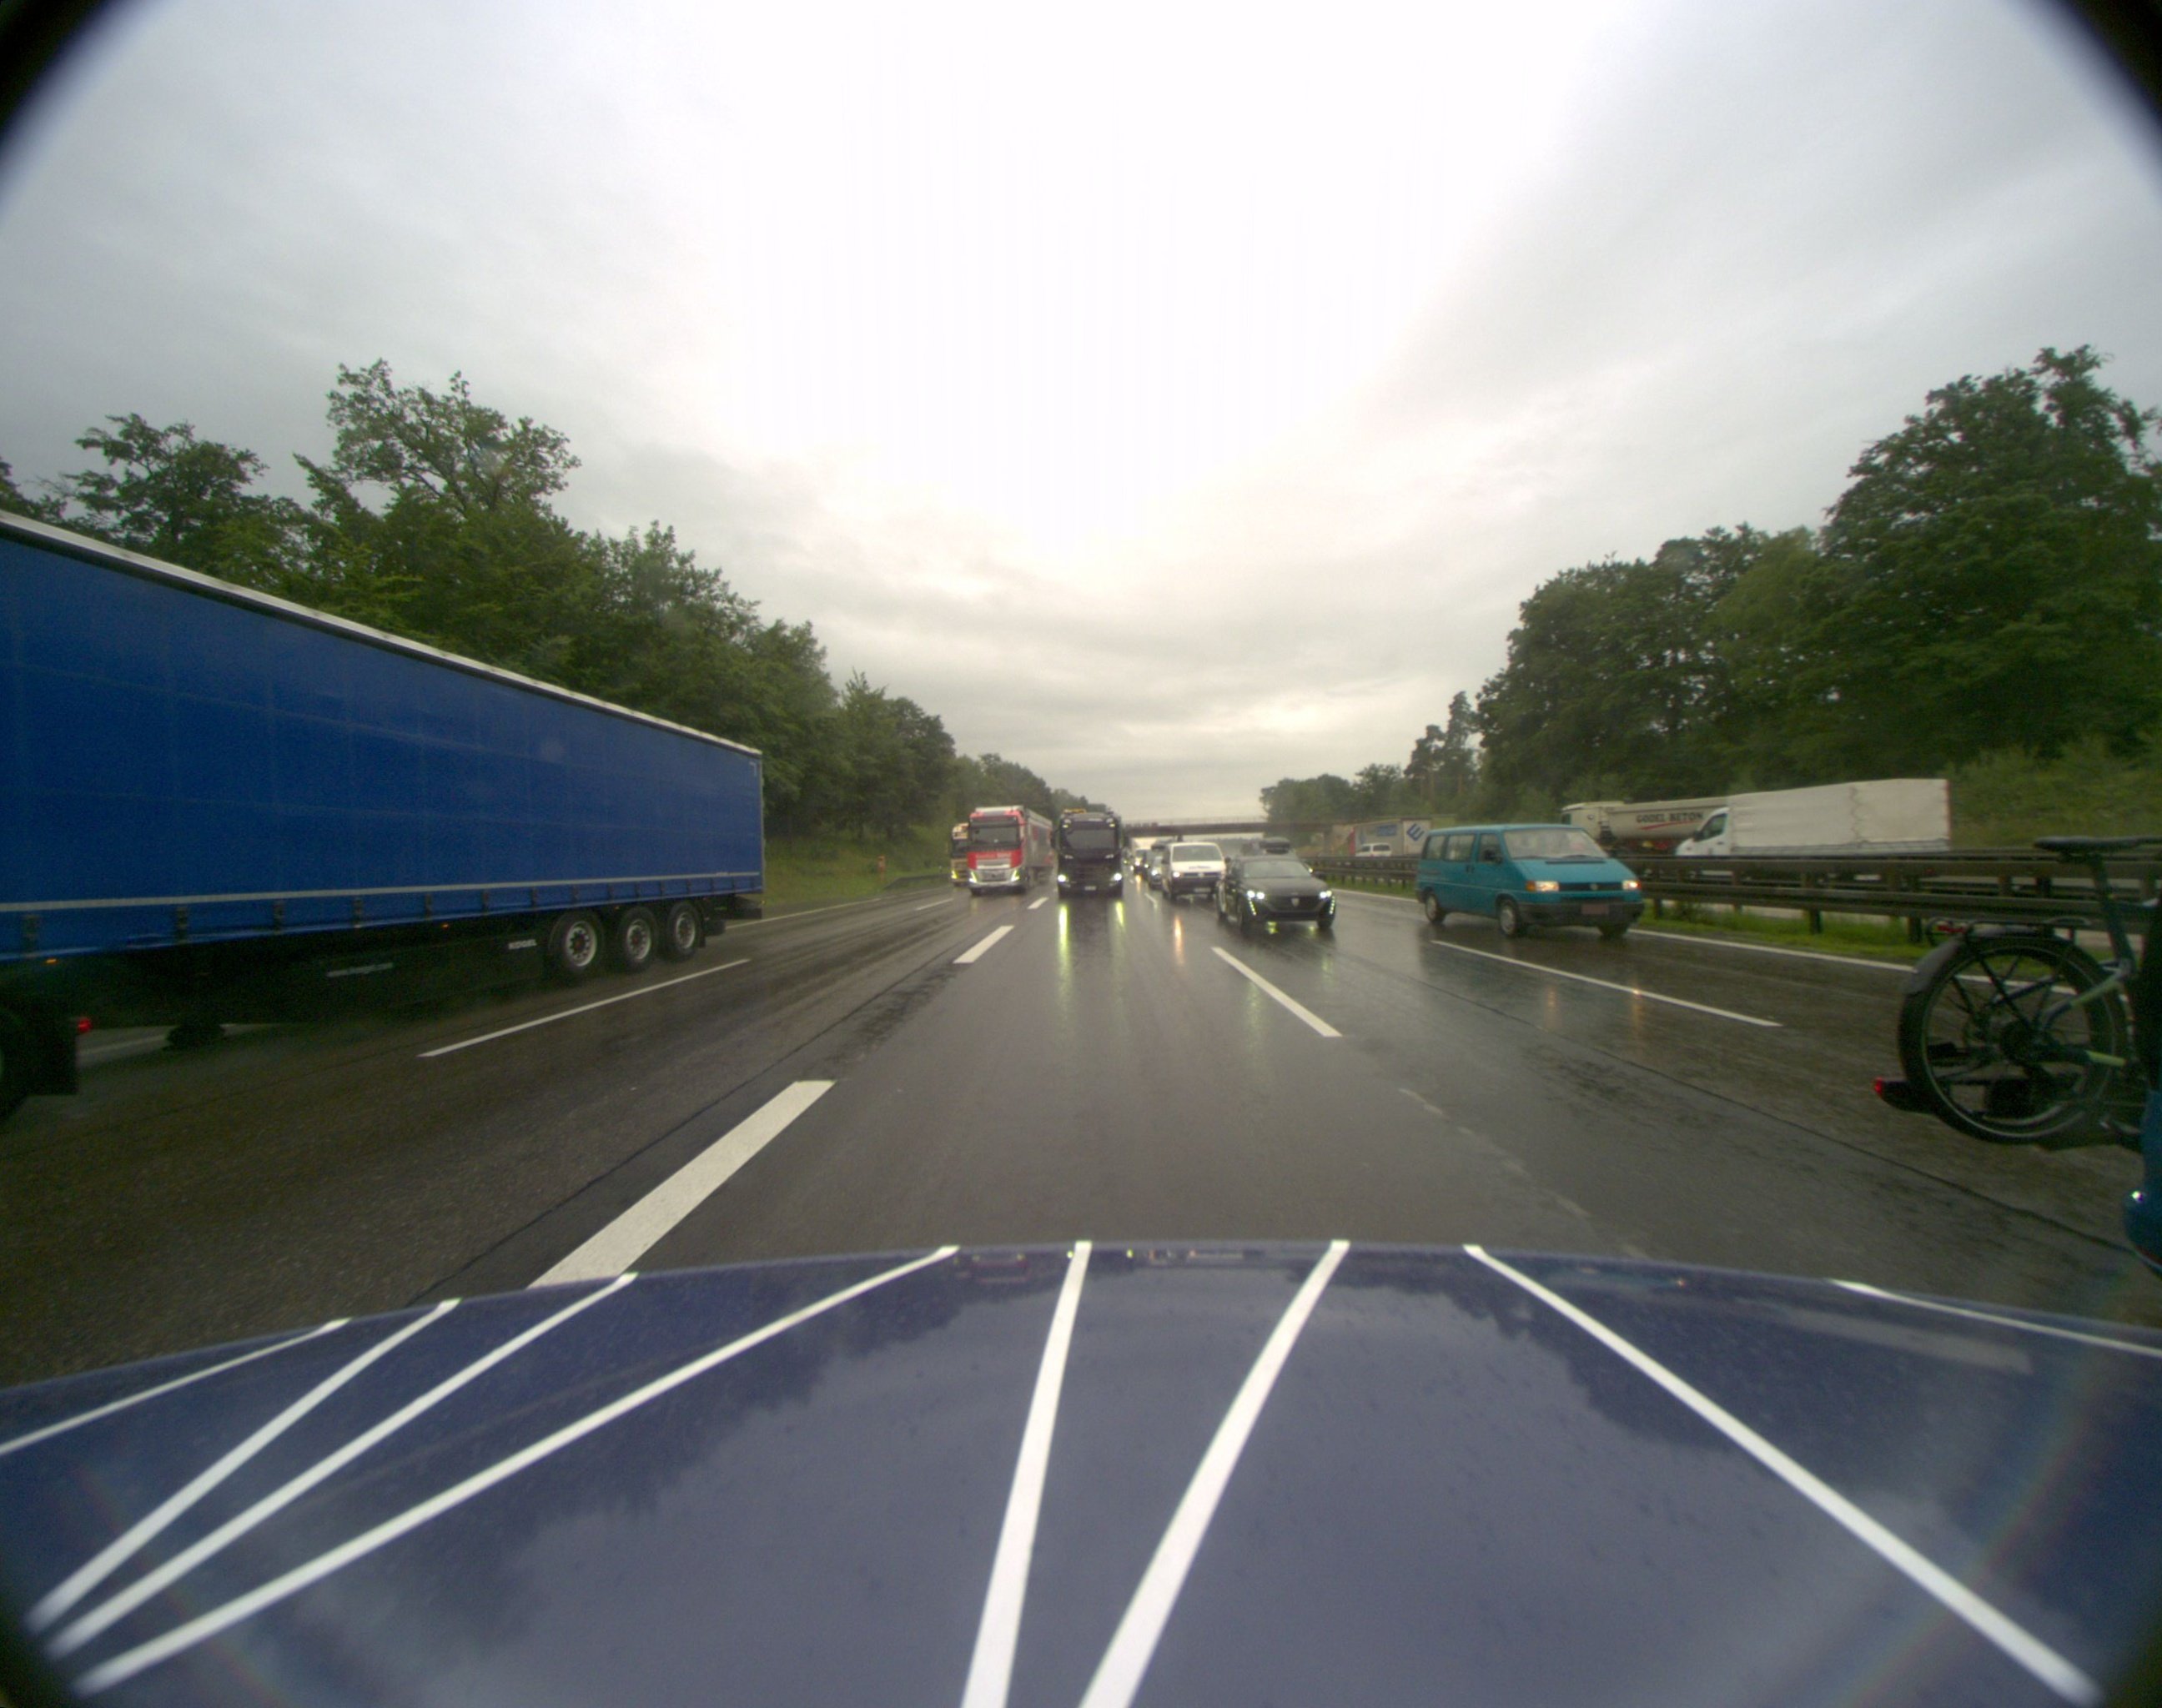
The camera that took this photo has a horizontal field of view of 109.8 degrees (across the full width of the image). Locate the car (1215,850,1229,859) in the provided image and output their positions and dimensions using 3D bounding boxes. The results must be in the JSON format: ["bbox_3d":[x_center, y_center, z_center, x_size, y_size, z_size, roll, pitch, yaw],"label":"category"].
[{"bbox_3d":[27.240,0.109,146.542,1.998,1.498,4.708,-1,0,3],"label":"car"}]

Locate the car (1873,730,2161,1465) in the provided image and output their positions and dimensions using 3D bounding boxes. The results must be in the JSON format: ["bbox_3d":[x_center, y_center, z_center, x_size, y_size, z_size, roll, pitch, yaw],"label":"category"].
[{"bbox_3d":[3.819,0.592,0.109,2.275,1.900,5.016,-2,0,3],"label":"car"}]

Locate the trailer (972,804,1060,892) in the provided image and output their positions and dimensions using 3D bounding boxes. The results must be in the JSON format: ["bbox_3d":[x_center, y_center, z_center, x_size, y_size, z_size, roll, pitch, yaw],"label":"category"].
[{"bbox_3d":[-3.170,-0.325,41.973,2.607,3.934,14.584,-2,0,3],"label":"trailer"}]

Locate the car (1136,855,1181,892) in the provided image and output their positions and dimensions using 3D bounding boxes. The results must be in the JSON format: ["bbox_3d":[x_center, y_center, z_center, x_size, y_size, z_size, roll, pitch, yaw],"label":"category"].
[{"bbox_3d":[3.555,0.866,35.504,1.850,1.496,4.467,-2,0,4],"label":"car"}]

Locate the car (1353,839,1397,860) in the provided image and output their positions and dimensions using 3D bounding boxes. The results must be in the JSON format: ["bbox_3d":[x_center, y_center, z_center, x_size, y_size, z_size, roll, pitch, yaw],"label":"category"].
[{"bbox_3d":[25.435,-0.374,65.989,1.998,1.759,5.040,-1,0,2],"label":"car"}]

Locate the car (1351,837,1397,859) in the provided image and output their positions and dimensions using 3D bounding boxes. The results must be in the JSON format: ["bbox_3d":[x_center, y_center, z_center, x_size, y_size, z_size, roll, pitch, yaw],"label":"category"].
[{"bbox_3d":[25.416,-0.530,66.194,1.982,1.814,5.222,-2,0,0],"label":"car"}]

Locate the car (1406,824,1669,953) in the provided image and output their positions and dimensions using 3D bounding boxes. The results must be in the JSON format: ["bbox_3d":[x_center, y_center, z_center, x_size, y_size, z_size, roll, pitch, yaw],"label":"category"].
[{"bbox_3d":[7.804,0.501,13.670,1.915,1.852,4.759,-2,0,2],"label":"car"}]

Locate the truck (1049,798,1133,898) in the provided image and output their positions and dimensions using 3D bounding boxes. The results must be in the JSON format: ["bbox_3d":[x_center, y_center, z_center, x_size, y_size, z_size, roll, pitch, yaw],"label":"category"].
[{"bbox_3d":[0.727,-0.272,32.993,2.879,3.528,10.913,-2,1,4],"label":"truck"}]

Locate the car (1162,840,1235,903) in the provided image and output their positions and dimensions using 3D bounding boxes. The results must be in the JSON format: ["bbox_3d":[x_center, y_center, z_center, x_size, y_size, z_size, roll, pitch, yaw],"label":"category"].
[{"bbox_3d":[3.879,0.551,25.945,1.994,1.869,4.768,-2,0,4],"label":"car"}]

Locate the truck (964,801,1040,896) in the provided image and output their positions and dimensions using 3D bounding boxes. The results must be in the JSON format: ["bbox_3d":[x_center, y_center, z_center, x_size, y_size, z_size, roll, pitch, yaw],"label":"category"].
[{"bbox_3d":[-3.519,-0.256,35.259,2.608,3.934,5.600,-2,1,2],"label":"truck"}]

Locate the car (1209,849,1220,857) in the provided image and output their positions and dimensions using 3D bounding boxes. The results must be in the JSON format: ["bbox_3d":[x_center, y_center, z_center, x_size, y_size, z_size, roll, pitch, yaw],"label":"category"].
[{"bbox_3d":[29.711,-0.213,168.755,1.997,1.498,4.709,-1,0,6],"label":"car"}]

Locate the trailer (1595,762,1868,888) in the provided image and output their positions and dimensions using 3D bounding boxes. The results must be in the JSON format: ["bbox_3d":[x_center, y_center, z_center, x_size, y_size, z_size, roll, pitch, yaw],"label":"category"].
[{"bbox_3d":[23.694,-0.945,28.668,2.383,3.931,9.422,-1,0,1],"label":"trailer"}]

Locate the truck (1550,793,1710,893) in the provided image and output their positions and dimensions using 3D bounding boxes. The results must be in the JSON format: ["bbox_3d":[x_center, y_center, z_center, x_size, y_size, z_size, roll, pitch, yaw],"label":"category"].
[{"bbox_3d":[23.786,-0.454,33.394,2.383,3.931,6.536,-1,0,1],"label":"truck"}]

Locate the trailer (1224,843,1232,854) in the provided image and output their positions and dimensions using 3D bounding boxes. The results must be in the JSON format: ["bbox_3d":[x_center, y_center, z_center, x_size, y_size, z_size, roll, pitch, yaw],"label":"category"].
[{"bbox_3d":[50.401,-1.864,260.169,2.687,3.795,9.014,-2,0,11],"label":"trailer"}]

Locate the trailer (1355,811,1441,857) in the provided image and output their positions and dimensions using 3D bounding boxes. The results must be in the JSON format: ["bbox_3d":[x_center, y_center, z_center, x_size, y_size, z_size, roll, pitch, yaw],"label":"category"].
[{"bbox_3d":[29.475,-1.731,71.651,2.726,3.931,13.961,-1,0,2],"label":"trailer"}]

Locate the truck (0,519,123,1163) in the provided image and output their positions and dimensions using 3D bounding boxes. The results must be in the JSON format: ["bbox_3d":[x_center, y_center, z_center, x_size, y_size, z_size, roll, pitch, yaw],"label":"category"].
[{"bbox_3d":[-8.043,-0.020,2.184,2.608,3.990,6.012,-3,1,1],"label":"truck"}]

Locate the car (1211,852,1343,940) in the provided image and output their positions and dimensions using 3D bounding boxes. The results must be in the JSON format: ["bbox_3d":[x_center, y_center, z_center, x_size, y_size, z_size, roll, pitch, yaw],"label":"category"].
[{"bbox_3d":[3.929,0.755,16.000,1.850,1.496,4.467,-2,1,4],"label":"car"}]

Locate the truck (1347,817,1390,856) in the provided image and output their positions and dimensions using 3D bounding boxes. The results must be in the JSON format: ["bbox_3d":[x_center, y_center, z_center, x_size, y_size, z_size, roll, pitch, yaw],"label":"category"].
[{"bbox_3d":[29.710,-1.775,78.675,2.710,3.931,4.891,-1,1,2],"label":"truck"}]

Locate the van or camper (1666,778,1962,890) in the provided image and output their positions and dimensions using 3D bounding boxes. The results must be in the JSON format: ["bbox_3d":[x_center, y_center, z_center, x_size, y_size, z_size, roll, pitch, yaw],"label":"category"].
[{"bbox_3d":[19.266,-0.444,20.584,2.203,2.532,6.120,-1,0,1],"label":"van or camper"}]

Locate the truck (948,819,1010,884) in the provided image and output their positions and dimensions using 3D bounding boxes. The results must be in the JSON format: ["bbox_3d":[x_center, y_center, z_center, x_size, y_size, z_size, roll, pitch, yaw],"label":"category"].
[{"bbox_3d":[-6.772,-0.193,52.106,2.608,3.934,9.939,-2,0,1],"label":"truck"}]

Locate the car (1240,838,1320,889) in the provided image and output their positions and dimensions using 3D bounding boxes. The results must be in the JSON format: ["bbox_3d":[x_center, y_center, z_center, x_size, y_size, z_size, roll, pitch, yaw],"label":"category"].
[{"bbox_3d":[7.833,0.350,30.391,1.982,1.814,4.606,-2,0,0],"label":"car"}]

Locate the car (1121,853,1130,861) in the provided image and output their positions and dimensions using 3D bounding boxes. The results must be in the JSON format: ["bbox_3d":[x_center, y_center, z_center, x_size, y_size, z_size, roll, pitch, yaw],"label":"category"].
[{"bbox_3d":[9.633,0.577,165.673,1.864,1.554,4.436,-2,0,2],"label":"car"}]

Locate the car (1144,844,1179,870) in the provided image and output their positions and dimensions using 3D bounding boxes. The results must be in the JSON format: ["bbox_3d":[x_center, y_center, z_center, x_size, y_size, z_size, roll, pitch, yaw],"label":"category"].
[{"bbox_3d":[5.147,0.183,49.087,1.994,1.551,4.768,-2,0,3],"label":"car"}]

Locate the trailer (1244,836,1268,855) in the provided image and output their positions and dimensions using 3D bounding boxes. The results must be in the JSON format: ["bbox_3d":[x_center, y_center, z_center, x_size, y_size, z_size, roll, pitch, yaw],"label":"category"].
[{"bbox_3d":[36.643,-1.796,159.713,3.031,3.795,13.565,-2,0,5],"label":"trailer"}]

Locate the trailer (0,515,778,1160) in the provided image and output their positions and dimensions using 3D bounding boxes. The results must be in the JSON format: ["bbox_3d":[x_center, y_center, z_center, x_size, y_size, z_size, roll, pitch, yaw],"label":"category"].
[{"bbox_3d":[-7.842,-0.103,8.936,2.560,3.990,13.714,-2,0,2],"label":"trailer"}]

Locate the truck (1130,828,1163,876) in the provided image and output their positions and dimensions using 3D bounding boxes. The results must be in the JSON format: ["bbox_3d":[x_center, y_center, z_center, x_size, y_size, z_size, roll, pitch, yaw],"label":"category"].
[{"bbox_3d":[5.685,-0.158,66.769,2.520,3.941,6.996,-2,0,4],"label":"truck"}]

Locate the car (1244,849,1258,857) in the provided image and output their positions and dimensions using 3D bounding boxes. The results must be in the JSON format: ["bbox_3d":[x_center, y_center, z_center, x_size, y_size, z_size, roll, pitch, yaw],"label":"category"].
[{"bbox_3d":[30.642,-0.171,136.931,1.705,1.297,3.757,-2,0,2],"label":"car"}]
